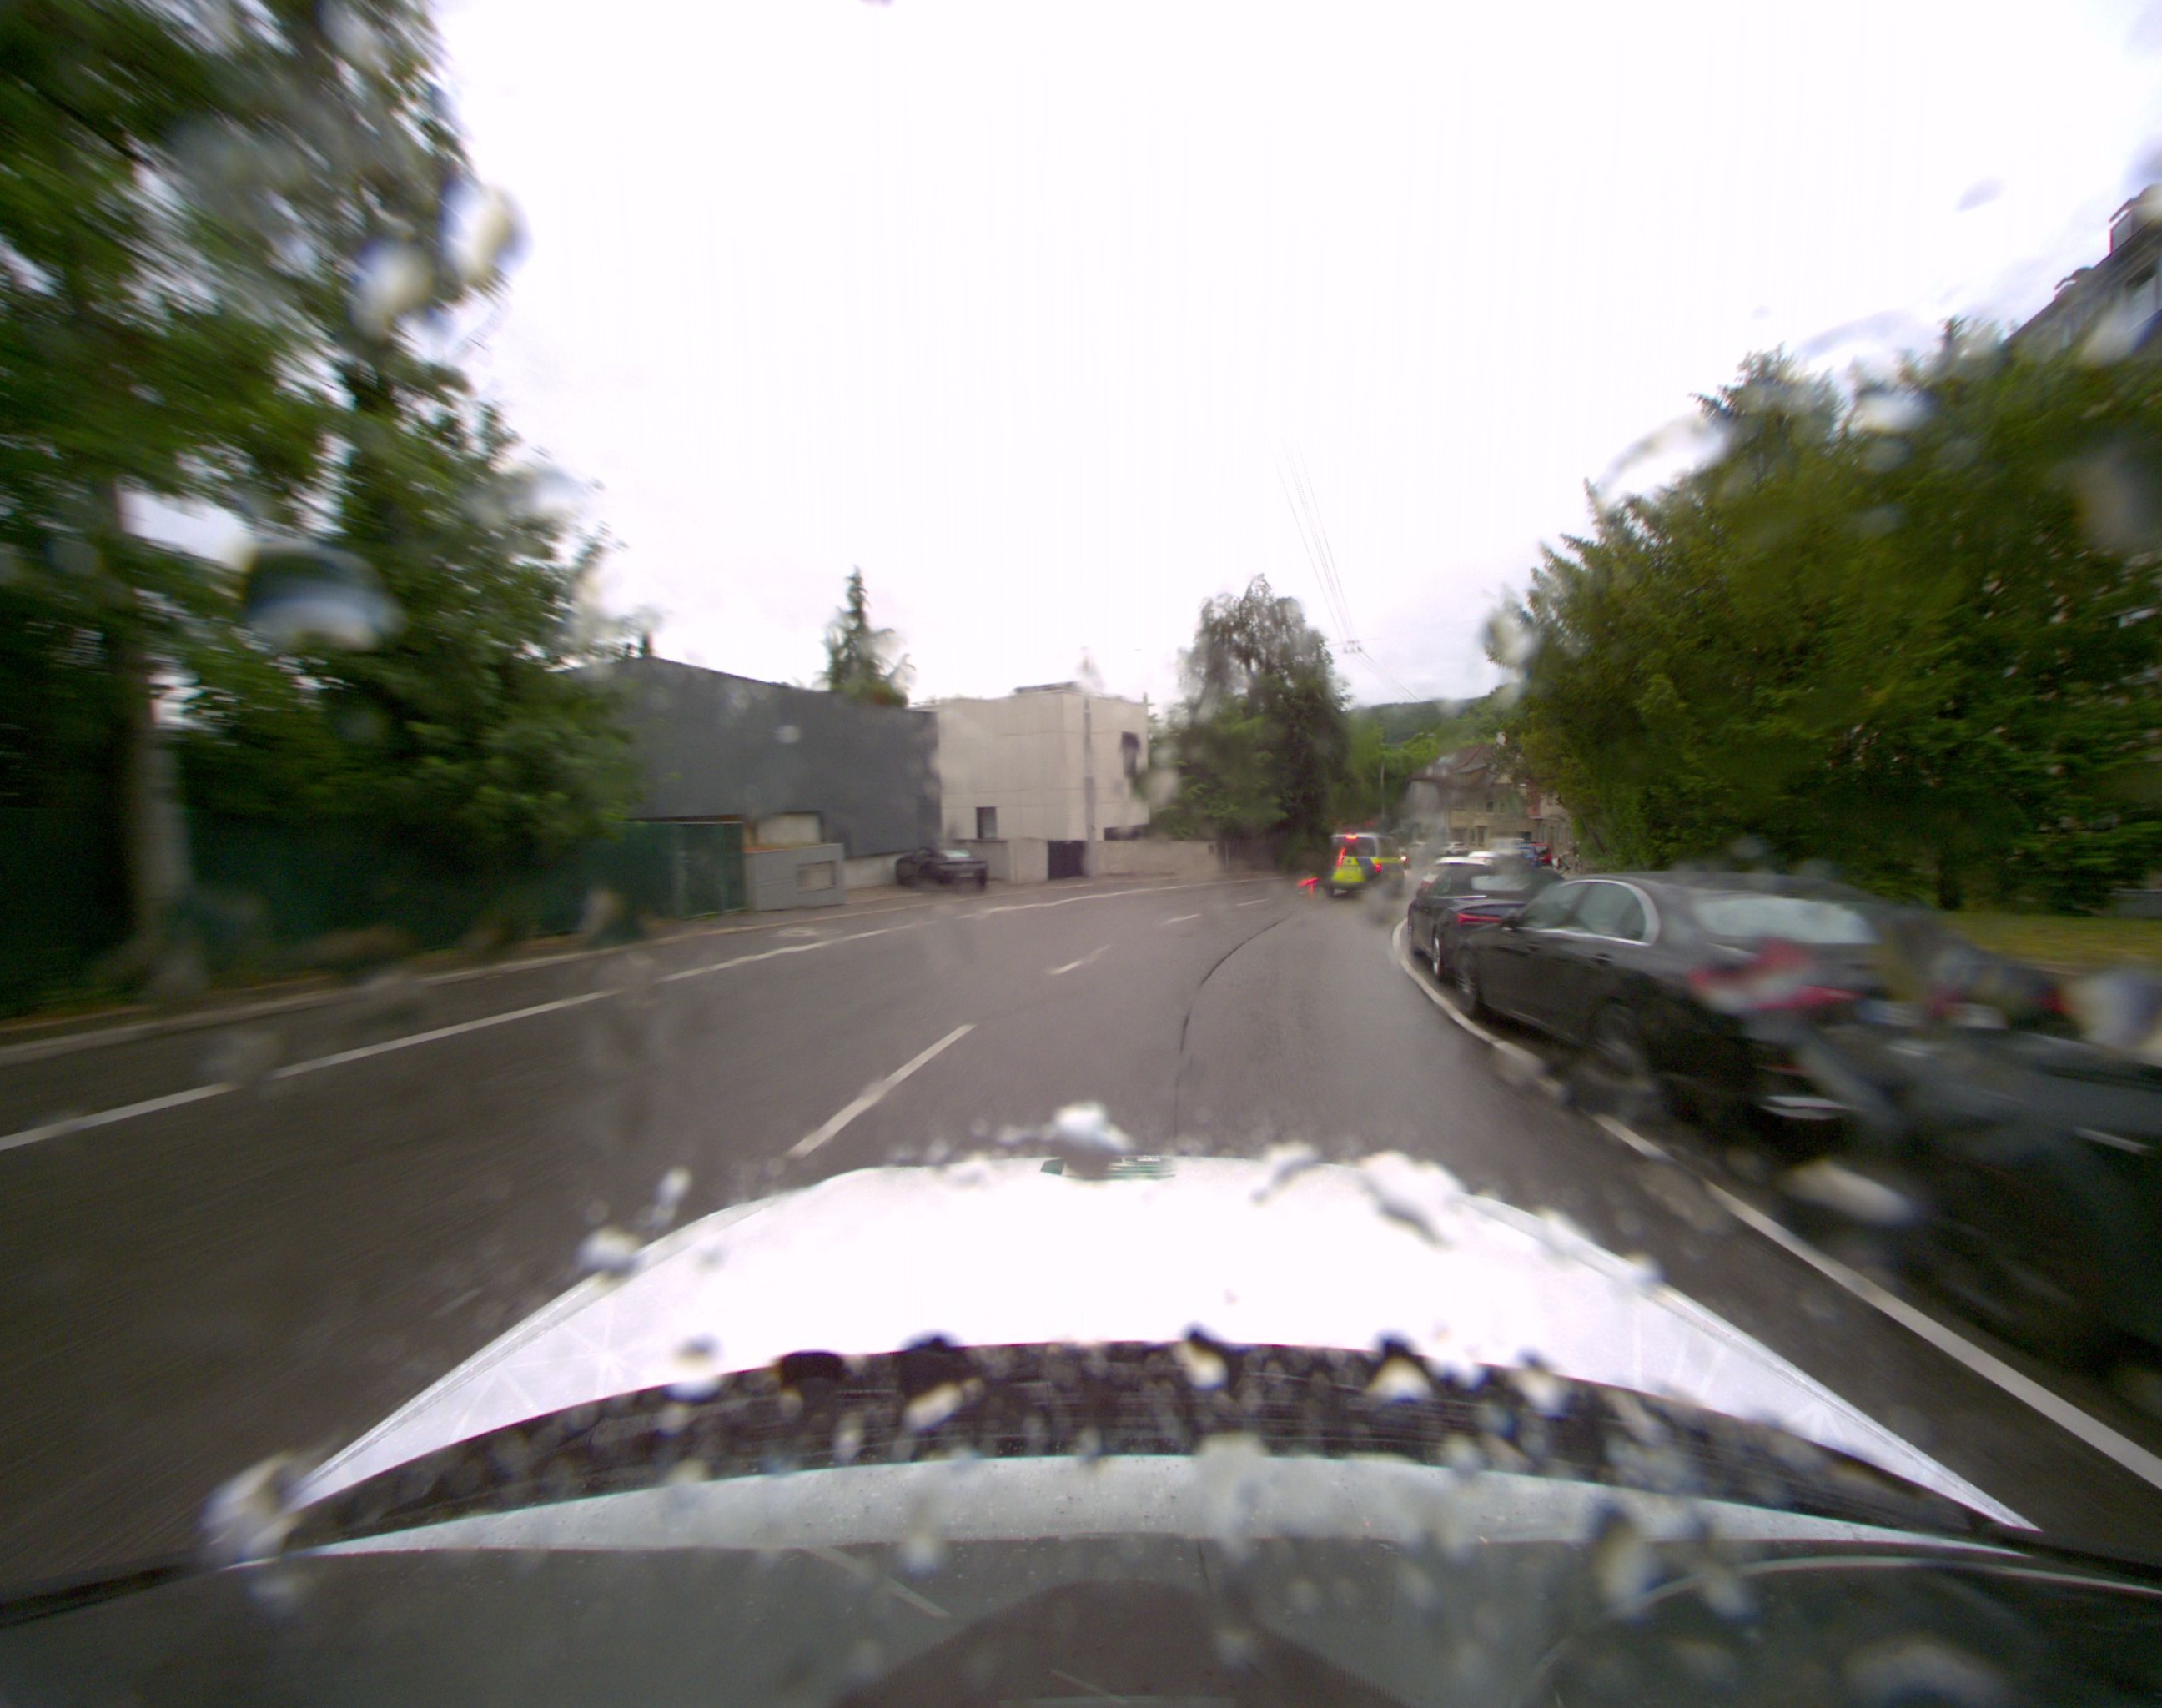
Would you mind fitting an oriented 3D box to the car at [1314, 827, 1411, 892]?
[{"bbox_3d":[9.173,0.198,26.326,1.974,1.893,4.599,-2,-1,31],"label":"car"}]

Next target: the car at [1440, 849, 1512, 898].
[{"bbox_3d":[13.474,0.607,27.628,1.790,1.455,4.281,0,1,31],"label":"car"}]

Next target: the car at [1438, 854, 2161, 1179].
[{"bbox_3d":[4.282,0.766,5.994,1.797,1.435,4.541,-3,0,8],"label":"car"}]

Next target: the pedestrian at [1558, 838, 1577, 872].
[{"bbox_3d":[23.820,0.026,39.871,0.616,1.650,0.616,1,1,6],"label":"pedestrian"}]

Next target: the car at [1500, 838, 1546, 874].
[{"bbox_3d":[21.035,0.051,38.659,1.717,1.593,4.281,0,1,31],"label":"car"}]

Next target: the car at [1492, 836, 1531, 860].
[{"bbox_3d":[35.318,-0.551,66.960,1.693,1.791,4.342,-4,0,13],"label":"car"}]

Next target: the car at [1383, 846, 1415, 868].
[{"bbox_3d":[21.976,0.182,56.193,1.634,1.420,3.826,2,2,28],"label":"car"}]

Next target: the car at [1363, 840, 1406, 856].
[{"bbox_3d":[32.443,-0.633,87.104,1.790,1.367,4.159,-5,0,-27],"label":"car"}]

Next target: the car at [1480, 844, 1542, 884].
[{"bbox_3d":[17.365,0.341,32.770,1.673,1.455,4.281,0,1,35],"label":"car"}]

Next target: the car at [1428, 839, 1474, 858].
[{"bbox_3d":[35.198,-0.507,77.625,1.913,1.538,4.402,-5,0,-8],"label":"car"}]

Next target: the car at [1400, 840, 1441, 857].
[{"bbox_3d":[34.253,-0.537,82.229,1.768,1.515,3.804,-5,0,-15],"label":"car"}]

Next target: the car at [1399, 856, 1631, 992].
[{"bbox_3d":[5.454,0.772,10.908,1.793,1.348,4.640,-3,0,16],"label":"car"}]

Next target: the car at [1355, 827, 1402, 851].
[{"bbox_3d":[34.100,-1.733,93.343,4.381,1.841,2.001,-13,2,2],"label":"car"}]

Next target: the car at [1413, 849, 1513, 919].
[{"bbox_3d":[9.452,0.669,19.937,1.762,1.435,4.598,-3,0,30],"label":"car"}]

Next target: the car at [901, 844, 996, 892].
[{"bbox_3d":[-4.121,0.365,24.776,1.900,1.301,3.968,-1,1,-24],"label":"car"}]

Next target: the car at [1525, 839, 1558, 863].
[{"bbox_3d":[32.110,-0.255,56.858,1.600,1.435,3.602,-4,0,24],"label":"car"}]

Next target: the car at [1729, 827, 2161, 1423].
[{"bbox_3d":[3.607,0.710,1.654,1.675,1.471,3.743,-4,0,3],"label":"car"}]
